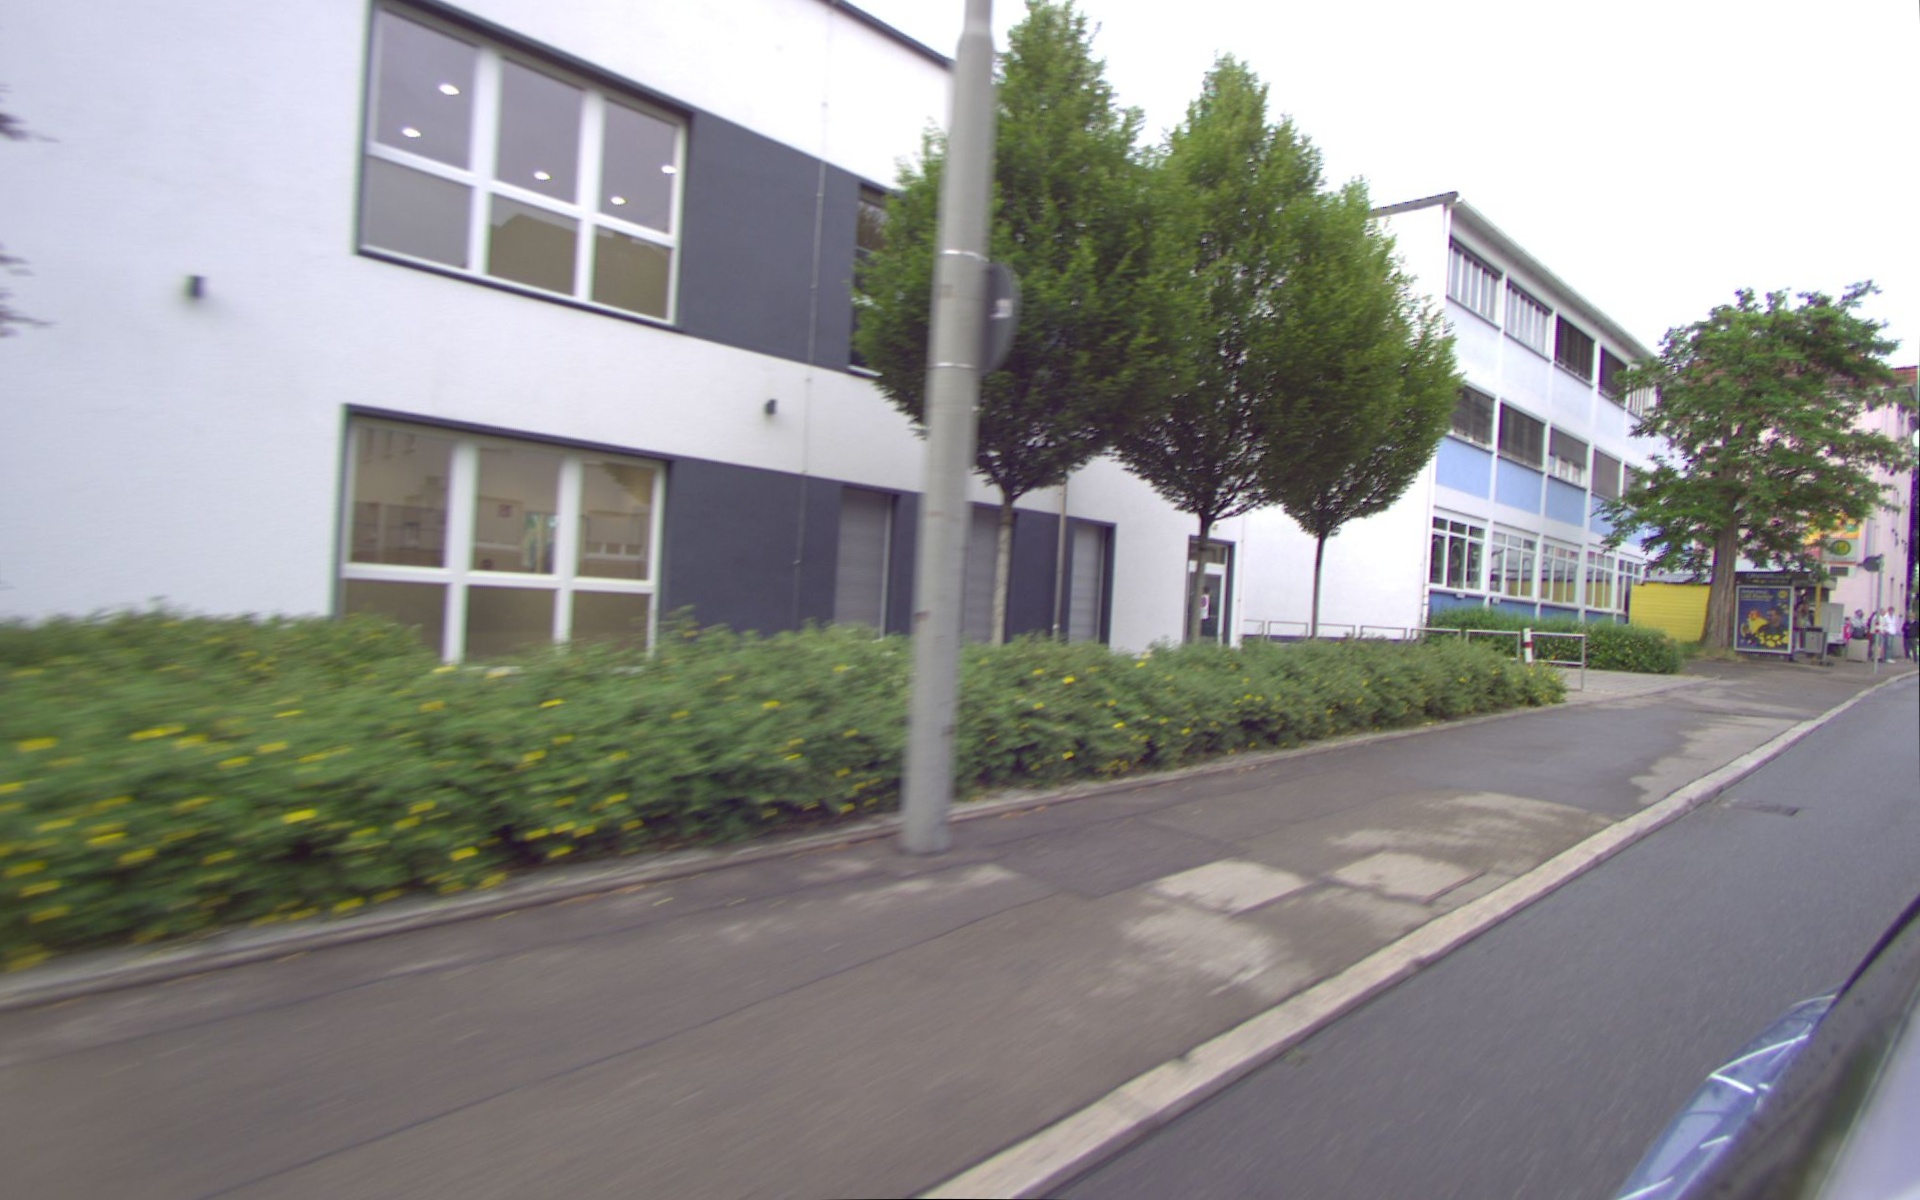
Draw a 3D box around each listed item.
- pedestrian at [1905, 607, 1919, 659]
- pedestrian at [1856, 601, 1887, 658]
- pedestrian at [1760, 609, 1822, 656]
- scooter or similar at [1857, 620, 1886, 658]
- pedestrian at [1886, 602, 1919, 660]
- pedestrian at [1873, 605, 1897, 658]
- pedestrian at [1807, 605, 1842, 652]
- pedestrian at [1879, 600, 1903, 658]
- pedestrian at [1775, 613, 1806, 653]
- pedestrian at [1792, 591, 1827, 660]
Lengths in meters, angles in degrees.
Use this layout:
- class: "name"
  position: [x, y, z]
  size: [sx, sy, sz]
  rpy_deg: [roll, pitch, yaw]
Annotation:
- class: "pedestrian"
  position: [32.692, 1.150, 34.245]
  size: [0.627, 1.731, 0.746]
  rpy_deg: [4, 2, 14]
- class: "pedestrian"
  position: [29.196, 0.948, 32.420]
  size: [0.660, 1.763, 0.816]
  rpy_deg: [4, 1, 43]
- class: "pedestrian"
  position: [25.175, 0.974, 30.659]
  size: [1.355, 1.289, 0.730]
  rpy_deg: [4, 1, 43]
- class: "scooter or similar"
  position: [28.732, 1.228, 31.902]
  size: [0.618, 1.154, 0.559]
  rpy_deg: [4, 1, 43]
- class: "pedestrian"
  position: [31.982, 1.042, 34.314]
  size: [0.619, 1.898, 0.489]
  rpy_deg: [3, 2, -14]
- class: "pedestrian"
  position: [31.298, 1.072, 34.230]
  size: [0.548, 1.728, 0.447]
  rpy_deg: [2, 2, -42]
- class: "pedestrian"
  position: [31.582, 1.039, 36.963]
  size: [0.667, 1.645, 0.621]
  rpy_deg: [5, 2, 20]
- class: "pedestrian"
  position: [30.951, 0.963, 33.655]
  size: [0.459, 1.863, 0.595]
  rpy_deg: [5, 2, 43]
- class: "pedestrian"
  position: [26.134, 1.038, 31.852]
  size: [0.660, 1.214, 0.730]
  rpy_deg: [4, 1, 43]
- class: "pedestrian"
  position: [23.888, 0.712, 28.462]
  size: [0.646, 1.854, 0.730]
  rpy_deg: [4, 1, 43]
